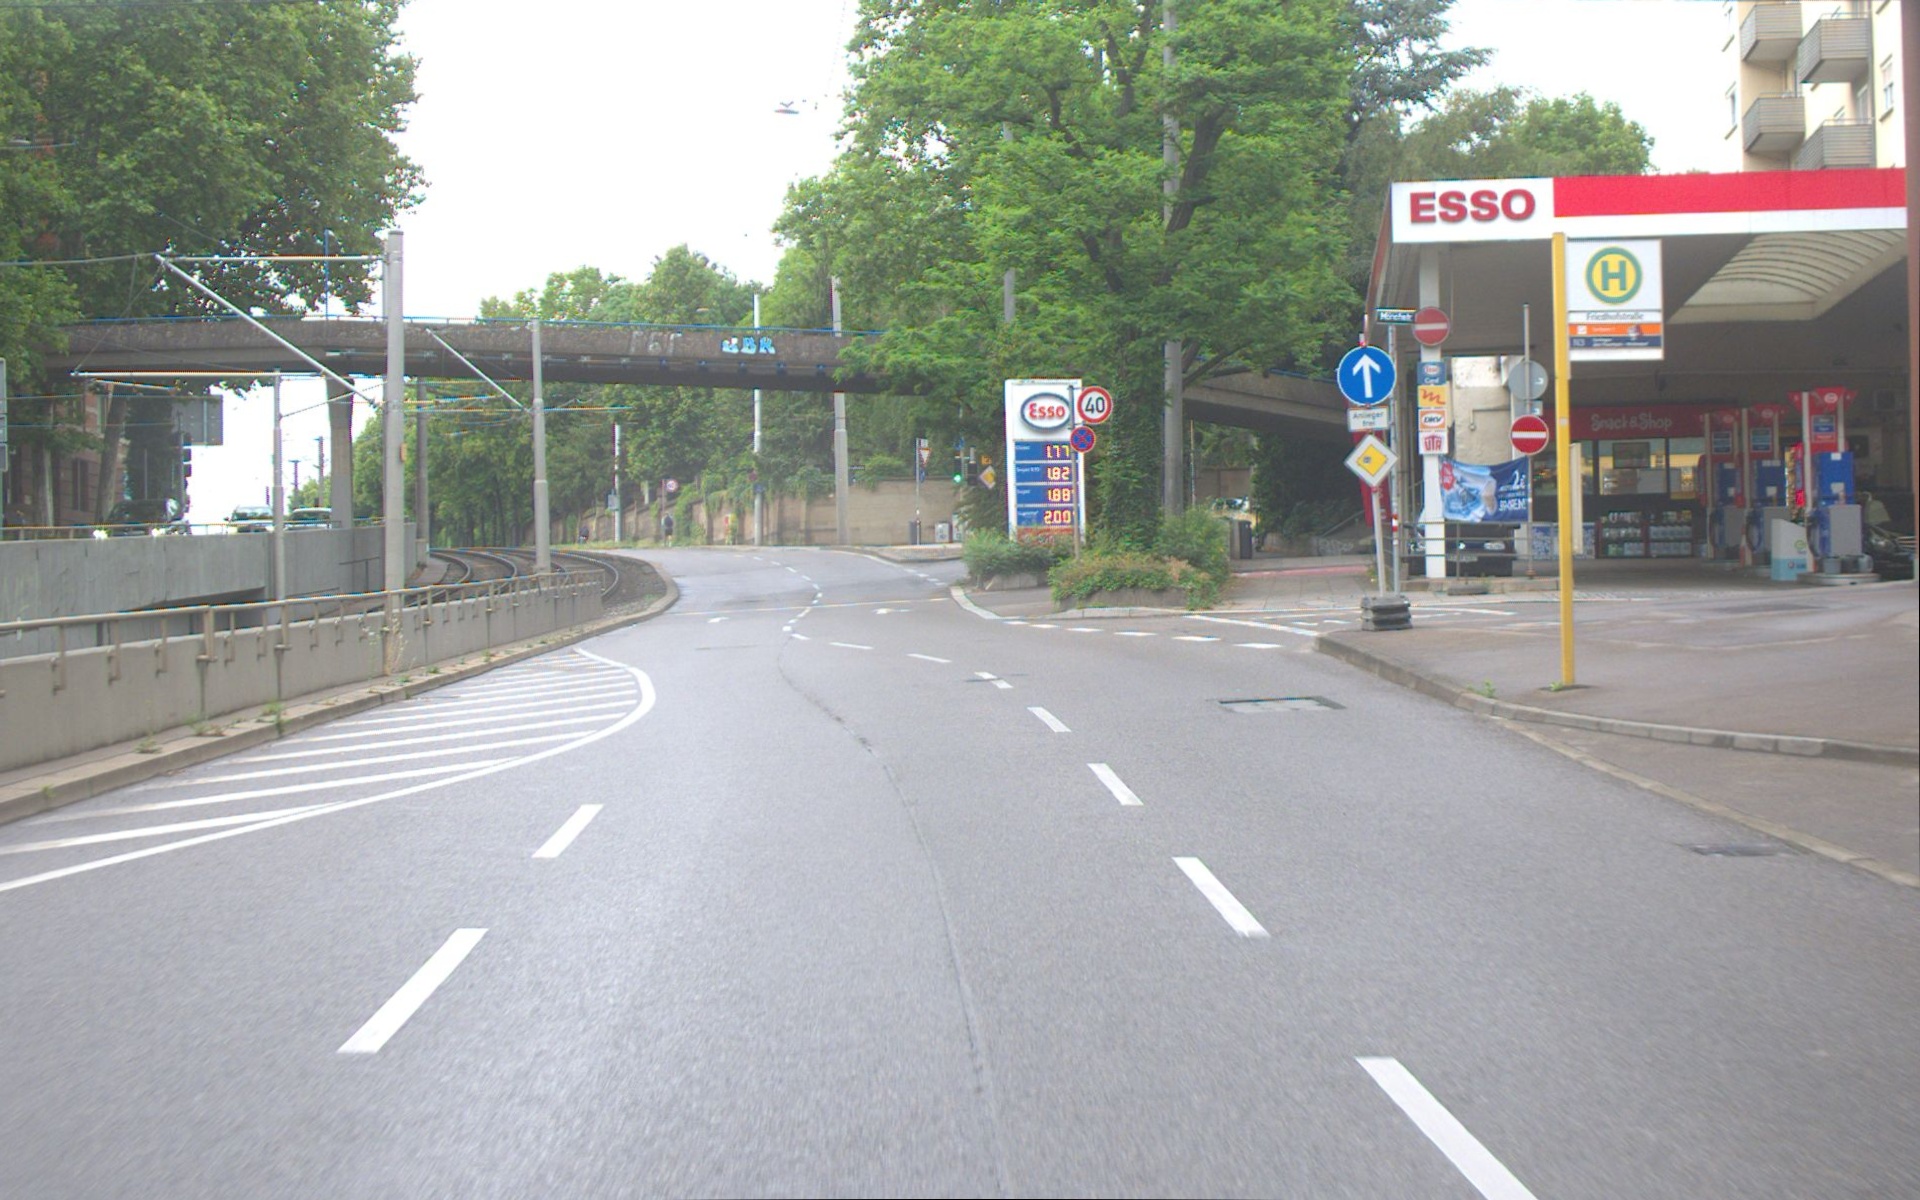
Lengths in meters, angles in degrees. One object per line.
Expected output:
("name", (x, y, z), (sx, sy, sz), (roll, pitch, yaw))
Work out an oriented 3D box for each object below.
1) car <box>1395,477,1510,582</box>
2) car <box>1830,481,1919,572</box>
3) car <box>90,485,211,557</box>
("car", (8.239, -1.176, 57.522), (1.773, 1.618, 3.865), (-3, 1, 8))
("car", (16.587, -1.275, 60.664), (1.794, 1.505, 3.999), (1, 0, 6))
("car", (-21.583, -2.118, 91.864), (1.956, 1.846, 4.968), (1, 1, 1))
